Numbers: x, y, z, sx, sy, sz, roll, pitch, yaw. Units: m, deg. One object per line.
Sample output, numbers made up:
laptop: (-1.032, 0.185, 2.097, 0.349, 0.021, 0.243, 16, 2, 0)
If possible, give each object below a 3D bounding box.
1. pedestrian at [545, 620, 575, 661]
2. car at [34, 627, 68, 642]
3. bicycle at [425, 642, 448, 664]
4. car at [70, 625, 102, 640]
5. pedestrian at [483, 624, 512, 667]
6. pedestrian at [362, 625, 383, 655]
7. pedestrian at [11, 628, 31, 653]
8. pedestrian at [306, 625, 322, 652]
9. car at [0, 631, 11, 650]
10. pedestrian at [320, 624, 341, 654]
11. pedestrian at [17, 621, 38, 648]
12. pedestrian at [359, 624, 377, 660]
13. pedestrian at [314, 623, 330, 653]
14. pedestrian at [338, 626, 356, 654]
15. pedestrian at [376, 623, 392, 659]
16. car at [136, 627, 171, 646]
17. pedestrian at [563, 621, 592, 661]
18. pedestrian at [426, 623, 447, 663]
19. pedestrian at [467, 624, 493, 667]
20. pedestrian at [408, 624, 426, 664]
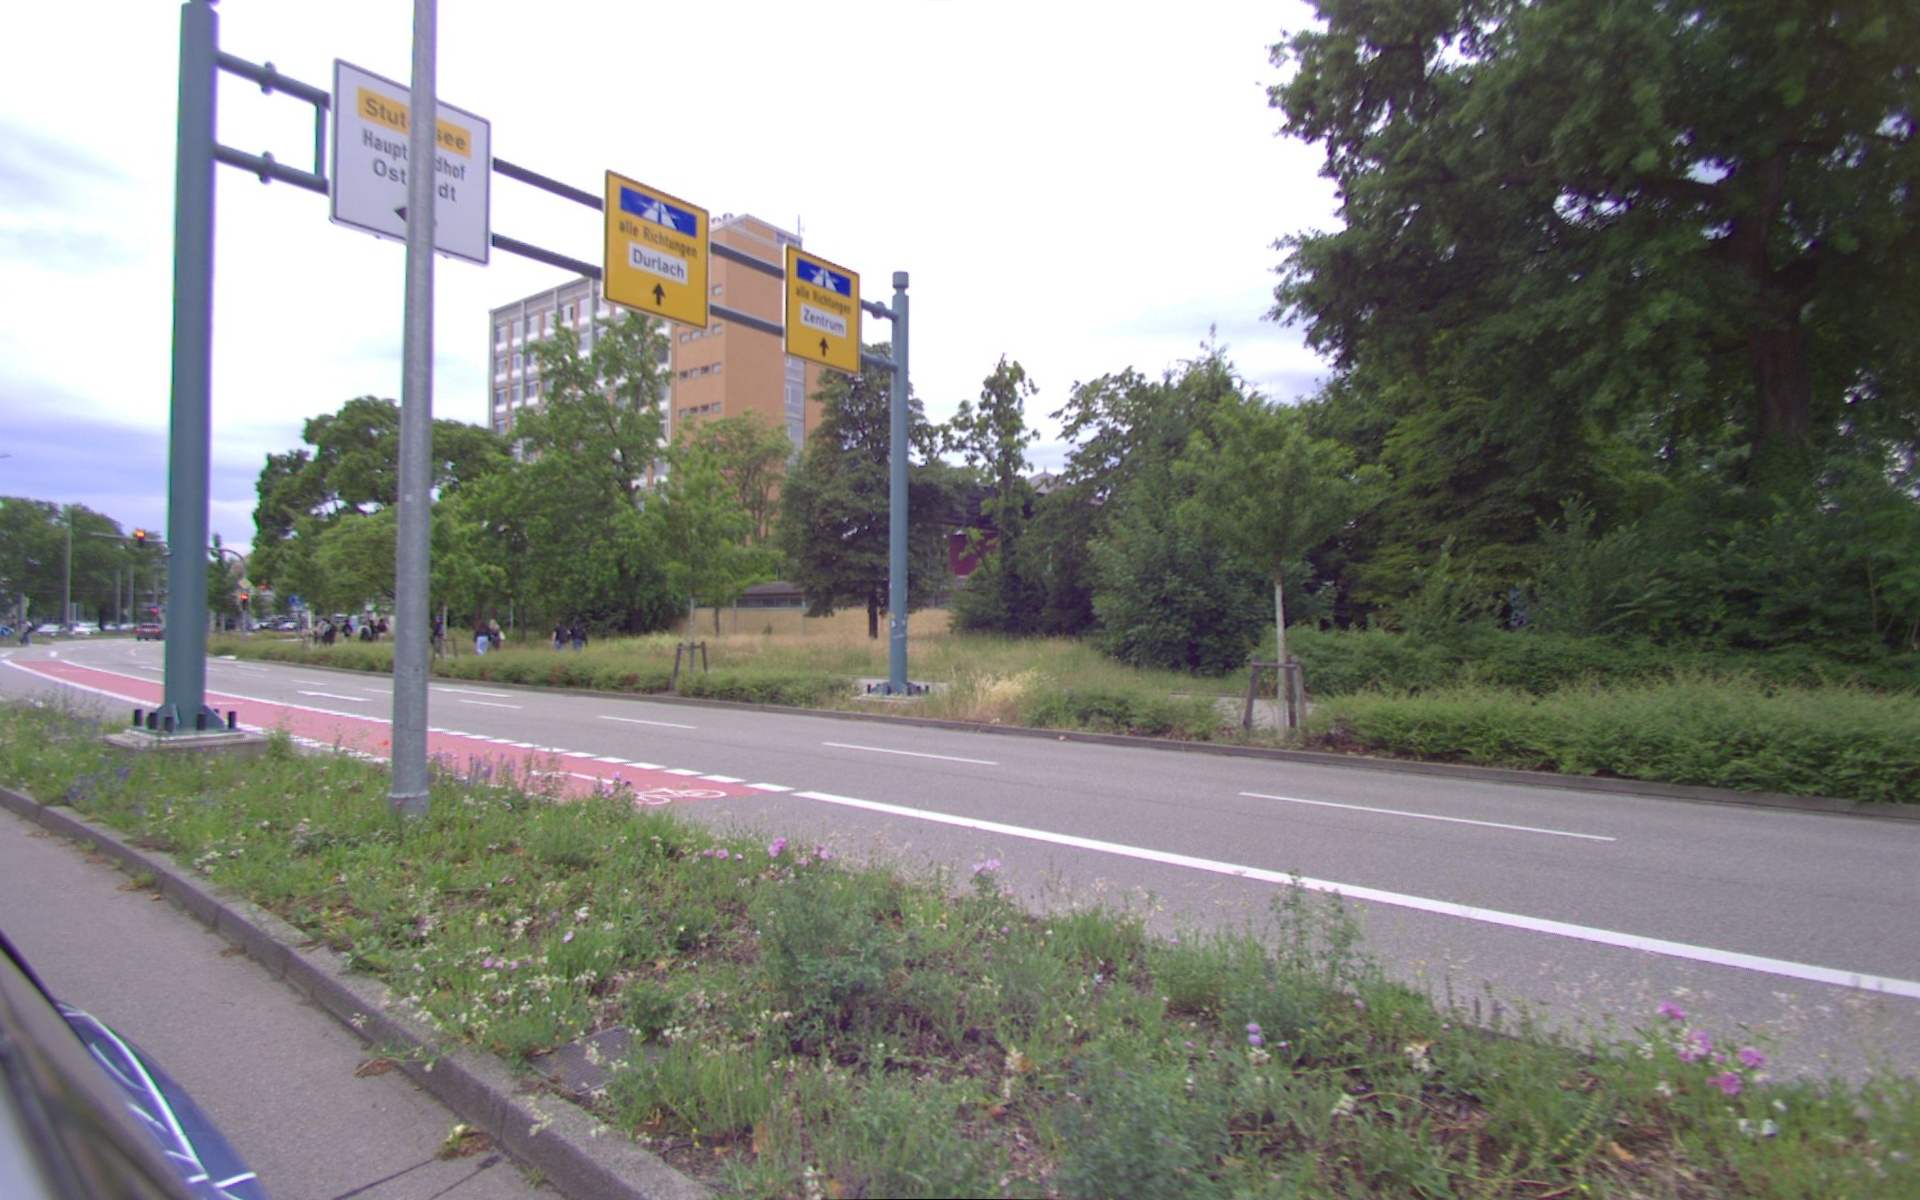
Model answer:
pedestrian: (-13.522, 1.378, 34.214, 0.711, 1.368, 0.638, -2, -4, 40)
car: (-98.735, 3.745, 110.001, 1.582, 1.608, 3.771, 2, -3, -24)
bicycle: (-21.861, 2.211, 42.256, 0.652, 0.894, 1.719, 3, -3, -33)
car: (-102.672, 3.829, 118.924, 1.774, 1.608, 3.771, 2, -3, -24)
pedestrian: (-18.189, 1.783, 39.774, 0.766, 1.685, 0.700, -1, -4, 36)
pedestrian: (-32.531, 2.204, 56.045, 0.824, 1.625, 0.631, -2, -1, 20)
pedestrian: (-62.983, 2.712, 67.889, 0.705, 1.680, 0.769, -1, -4, 33)
pedestrian: (-41.566, 2.463, 65.134, 0.698, 1.683, 0.890, 0, -1, -45)
car: (-93.174, 3.878, 97.094, 1.807, 1.777, 3.924, 2, -3, -24)
pedestrian: (-32.750, 2.031, 52.624, 0.720, 1.491, 0.813, 4, -4, -45)
pedestrian: (-64.253, 2.371, 69.716, 0.735, 1.818, 0.763, 0, -3, 19)
pedestrian: (-28.513, 2.013, 48.752, 0.613, 1.708, 0.748, 3, -4, -36)
pedestrian: (-39.034, 2.297, 61.932, 0.630, 1.815, 0.762, 1, -3, -45)
pedestrian: (-32.218, 2.103, 53.198, 0.628, 1.491, 0.762, 4, -4, -45)
pedestrian: (-28.148, 2.022, 49.453, 0.570, 1.725, 0.764, 3, -3, -32)
car: (-77.433, 3.477, 97.168, 1.785, 1.680, 3.962, 2, -2, -26)
pedestrian: (-13.155, 1.411, 34.820, 0.680, 1.373, 0.638, -2, -4, 39)
pedestrian: (-21.870, 1.811, 42.298, 0.652, 1.644, 0.765, 3, -4, -33)
pedestrian: (-18.595, 1.766, 39.234, 0.719, 1.673, 0.580, -1, -4, 36)
pedestrian: (-22.379, 1.800, 41.703, 0.567, 1.621, 0.618, 3, -4, -33)
